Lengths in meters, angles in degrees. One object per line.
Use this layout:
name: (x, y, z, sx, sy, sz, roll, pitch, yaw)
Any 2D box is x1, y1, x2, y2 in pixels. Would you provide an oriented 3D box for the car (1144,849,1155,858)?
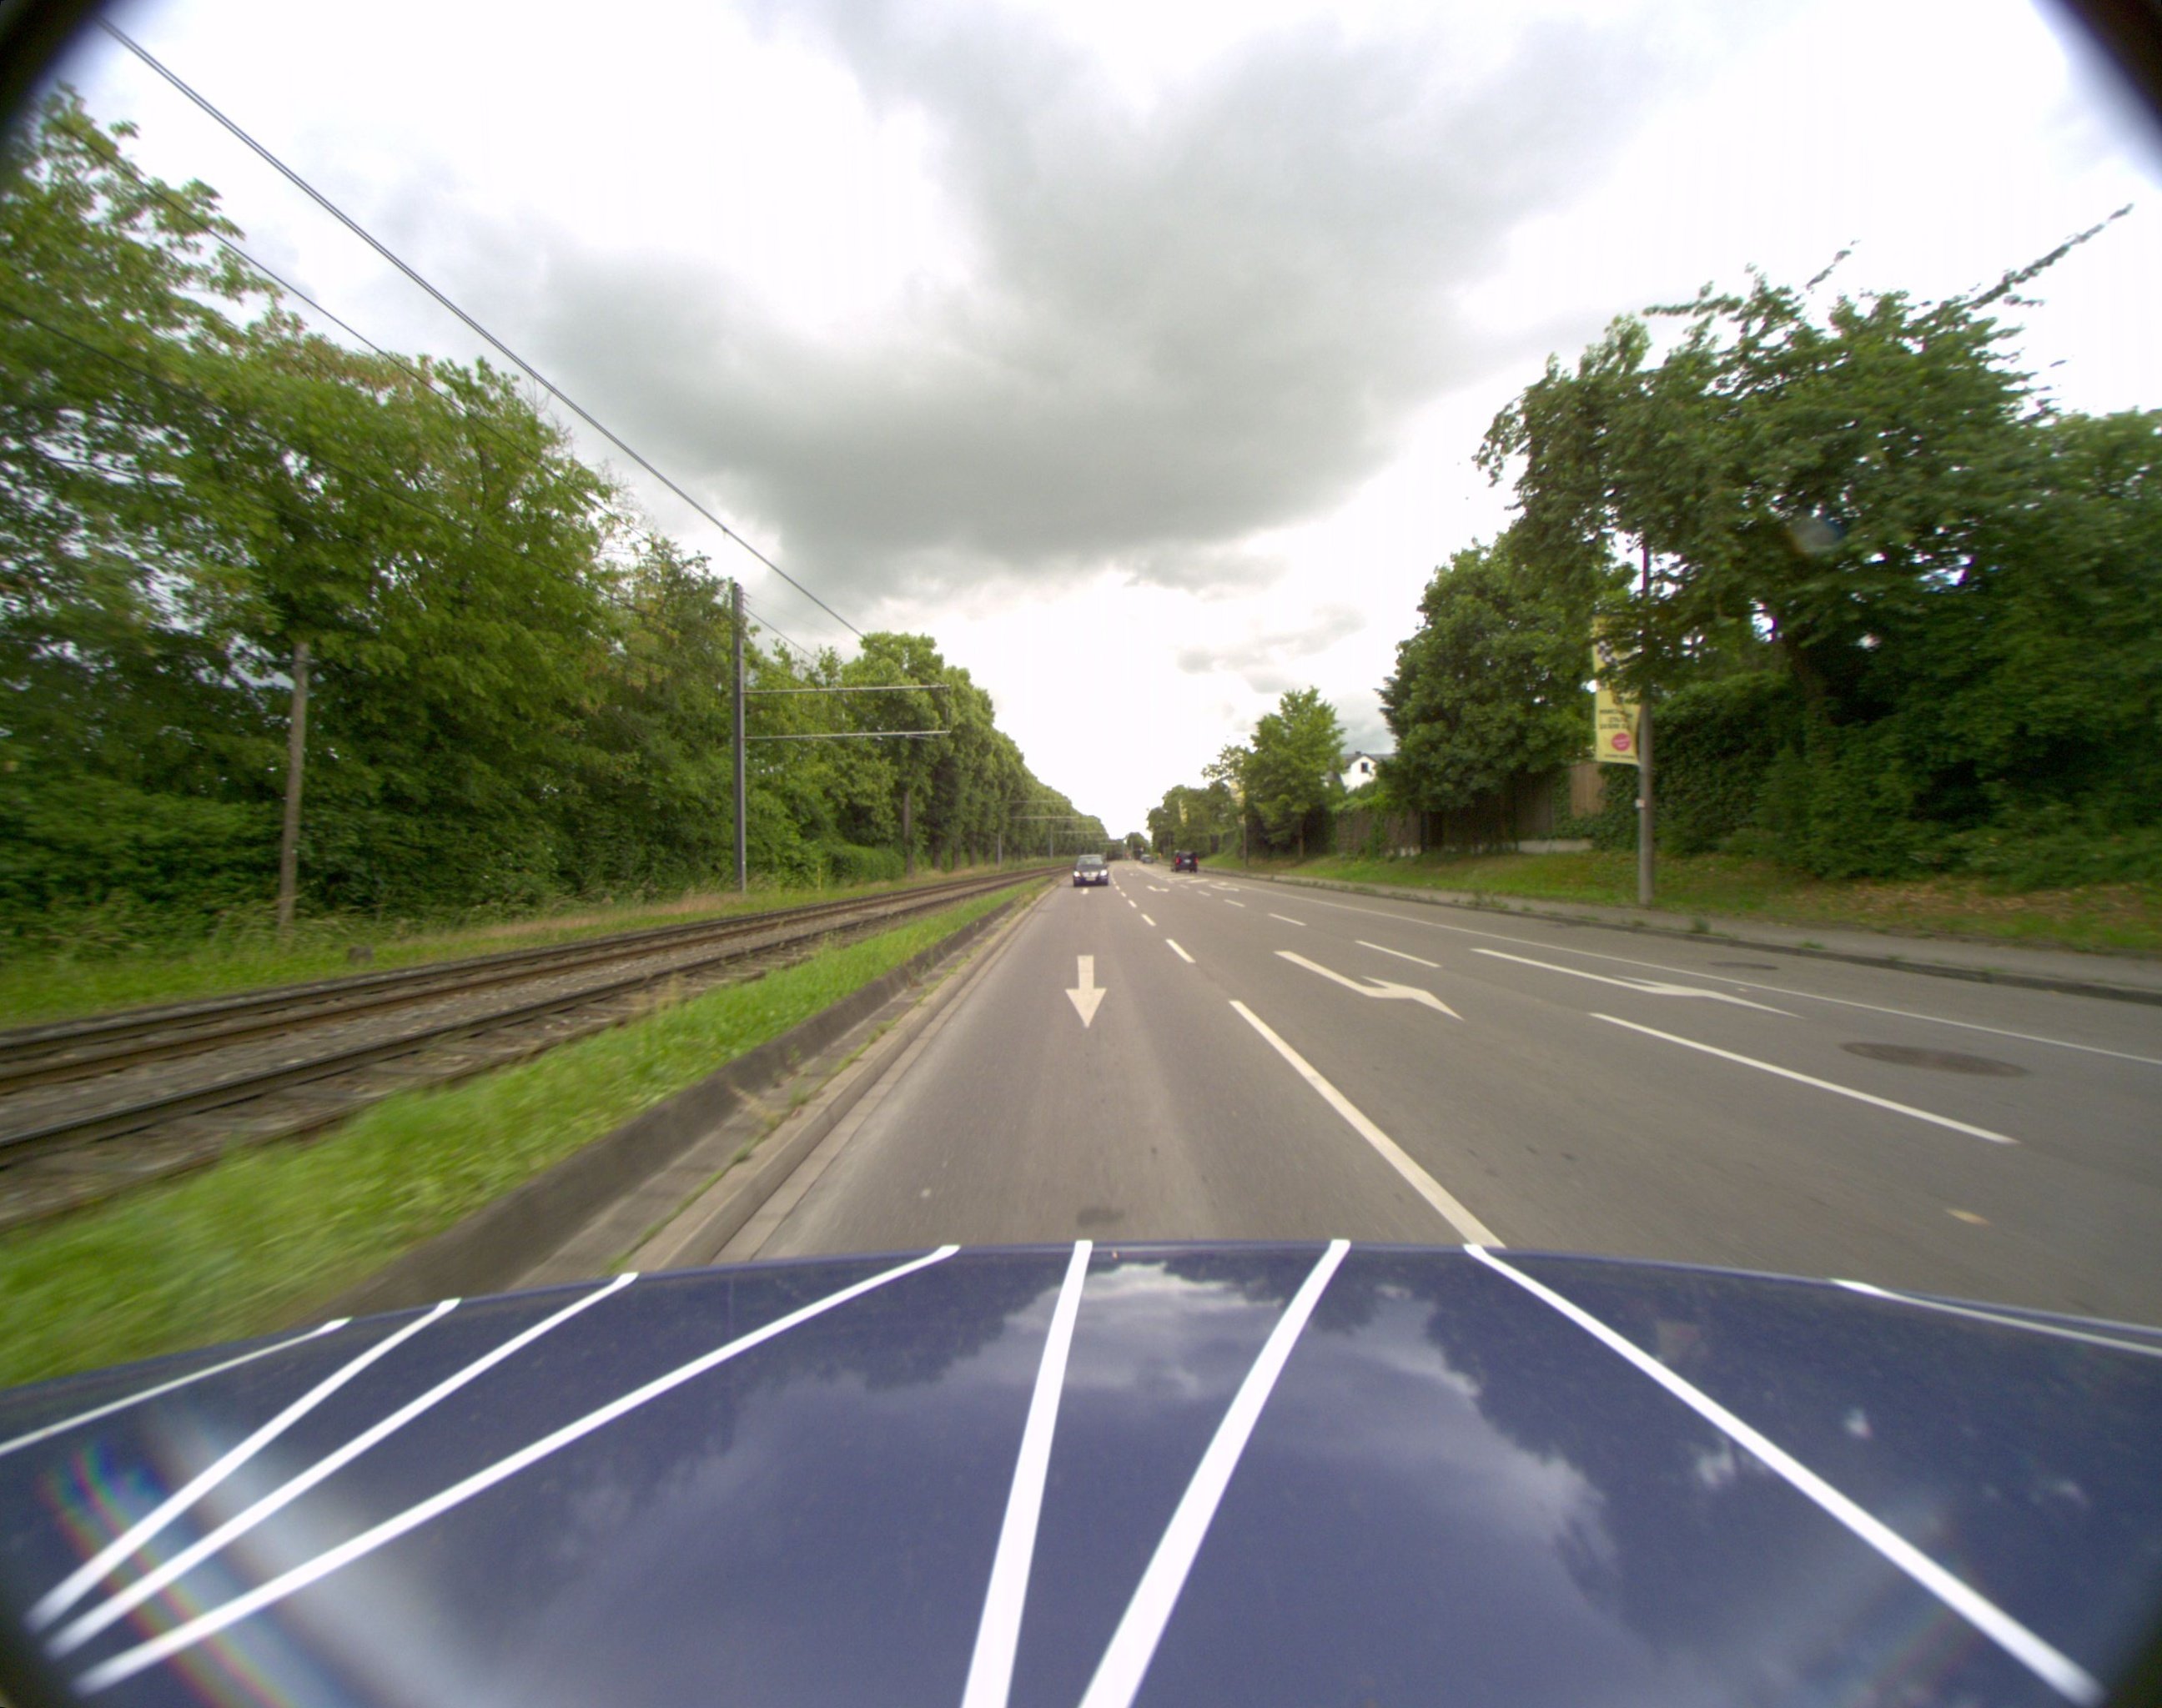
car: (11.914, -0.112, 132.701, 1.657, 1.414, 4.008, 1, 1, 2)

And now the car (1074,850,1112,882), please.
car: (0.658, 0.577, 39.621, 1.807, 1.520, 3.929, -2, 1, 2)

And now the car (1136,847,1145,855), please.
car: (13.478, -0.673, 172.191, 1.807, 1.520, 3.929, -2, 1, 2)

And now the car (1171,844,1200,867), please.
car: (9.064, 0.135, 66.340, 1.808, 1.893, 4.688, 0, 0, 0)
